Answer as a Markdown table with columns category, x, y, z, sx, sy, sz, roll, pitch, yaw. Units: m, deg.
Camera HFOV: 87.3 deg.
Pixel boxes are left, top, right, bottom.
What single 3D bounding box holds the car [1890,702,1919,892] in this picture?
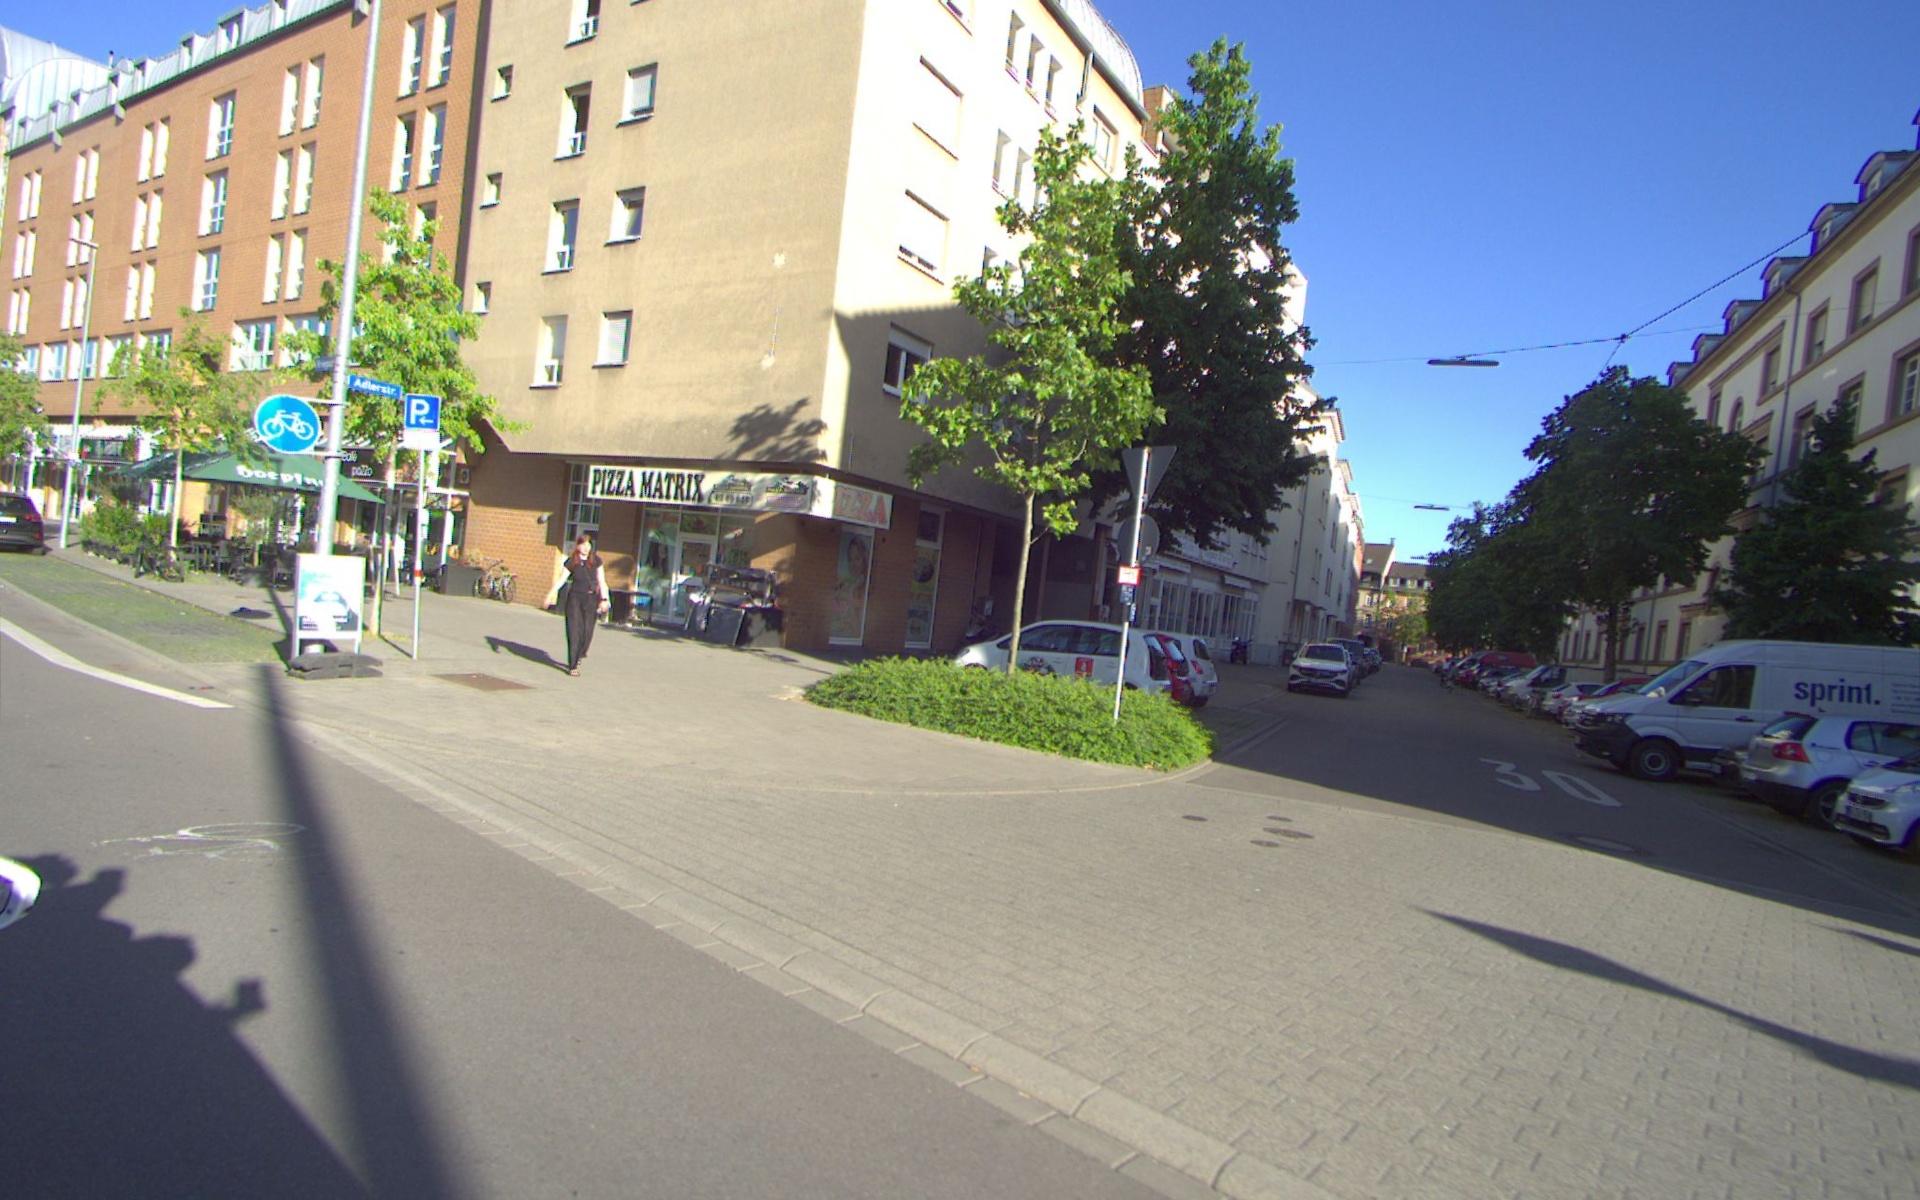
| category | x | y | z | sx | sy | sz | roll | pitch | yaw |
| --- | --- | --- | --- | --- | --- | --- | --- | --- | --- |
| car | 10.555 | 1.907 | 7.903 | 4.361 | 1.705 | 1.698 | 5 | -3 | 25 |

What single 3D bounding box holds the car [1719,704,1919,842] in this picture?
| category | x | y | z | sx | sy | sz | roll | pitch | yaw |
| --- | --- | --- | --- | --- | --- | --- | --- | --- | --- |
| car | 12.583 | 2.345 | 12.717 | 4.358 | 1.445 | 1.699 | 6 | -2 | 22 |

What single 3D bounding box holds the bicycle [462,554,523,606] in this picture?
| category | x | y | z | sx | sy | sz | roll | pitch | yaw |
| --- | --- | --- | --- | --- | --- | --- | --- | --- | --- |
| bicycle | -12.361 | -0.536 | 26.574 | 1.511 | 1.185 | 0.614 | 7 | 2 | 30 |

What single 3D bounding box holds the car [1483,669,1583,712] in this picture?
| category | x | y | z | sx | sy | sz | roll | pitch | yaw |
| --- | --- | --- | --- | --- | --- | --- | --- | --- | --- |
| car | 27.732 | 4.368 | 48.800 | 3.928 | 1.452 | 1.696 | 8 | -1 | 25 |

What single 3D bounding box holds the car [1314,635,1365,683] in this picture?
| category | x | y | z | sx | sy | sz | roll | pitch | yaw |
| --- | --- | --- | --- | --- | --- | --- | --- | --- | --- |
| car | 17.443 | 2.740 | 46.180 | 1.897 | 1.820 | 4.183 | 8 | -2 | 22 |

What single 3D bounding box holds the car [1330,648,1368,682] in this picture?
| category | x | y | z | sx | sy | sz | roll | pitch | yaw |
| --- | --- | --- | --- | --- | --- | --- | --- | --- | --- |
| car | 21.548 | 3.625 | 55.719 | 1.752 | 1.525 | 4.002 | 8 | -2 | 22 |

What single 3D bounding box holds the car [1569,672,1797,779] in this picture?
| category | x | y | z | sx | sy | sz | roll | pitch | yaw |
| --- | --- | --- | --- | --- | --- | --- | --- | --- | --- |
| car | 16.692 | 2.871 | 23.473 | 3.929 | 1.759 | 1.543 | 8 | -1 | 26 |

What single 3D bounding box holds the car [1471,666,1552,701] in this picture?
| category | x | y | z | sx | sy | sz | roll | pitch | yaw |
| --- | --- | --- | --- | --- | --- | --- | --- | --- | --- |
| car | 32.590 | 4.912 | 59.526 | 3.928 | 1.452 | 1.696 | 8 | -1 | 25 |

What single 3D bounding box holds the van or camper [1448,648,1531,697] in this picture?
| category | x | y | z | sx | sy | sz | roll | pitch | yaw |
| --- | --- | --- | --- | --- | --- | --- | --- | --- | --- |
| van or camper | 38.137 | 5.213 | 72.583 | 4.796 | 2.751 | 1.821 | 8 | -1 | 20 |

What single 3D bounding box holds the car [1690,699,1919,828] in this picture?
| category | x | y | z | sx | sy | sz | roll | pitch | yaw |
| --- | --- | --- | --- | --- | --- | --- | --- | --- | --- |
| car | 13.752 | 2.509 | 14.909 | 4.359 | 1.496 | 1.698 | 6 | -2 | 23 |

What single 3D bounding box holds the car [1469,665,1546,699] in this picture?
| category | x | y | z | sx | sy | sz | roll | pitch | yaw |
| --- | --- | --- | --- | --- | --- | --- | --- | --- | --- |
| car | 33.623 | 5.054 | 61.871 | 3.928 | 1.452 | 1.696 | 8 | -1 | 25 |

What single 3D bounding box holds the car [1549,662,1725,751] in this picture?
| category | x | y | z | sx | sy | sz | roll | pitch | yaw |
| --- | --- | --- | --- | --- | --- | --- | --- | --- | --- |
| car | 20.080 | 3.139 | 30.047 | 3.927 | 1.959 | 1.696 | 8 | -1 | 24 |

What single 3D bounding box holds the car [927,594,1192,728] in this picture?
| category | x | y | z | sx | sy | sz | roll | pitch | yaw |
| --- | --- | --- | --- | --- | --- | --- | --- | --- | --- |
| car | 1.610 | 0.955 | 16.104 | 3.766 | 1.491 | 1.669 | 8 | -1 | 21 |

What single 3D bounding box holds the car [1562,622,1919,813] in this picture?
| category | x | y | z | sx | sy | sz | roll | pitch | yaw |
| --- | --- | --- | --- | --- | --- | --- | --- | --- | --- |
| car | 13.996 | 1.953 | 17.281 | 5.854 | 2.641 | 1.928 | 4 | 0 | 22 |

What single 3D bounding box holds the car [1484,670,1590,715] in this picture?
| category | x | y | z | sx | sy | sz | roll | pitch | yaw |
| --- | --- | --- | --- | --- | --- | --- | --- | --- | --- |
| car | 26.445 | 4.230 | 46.227 | 3.928 | 1.452 | 1.696 | 8 | -1 | 25 |

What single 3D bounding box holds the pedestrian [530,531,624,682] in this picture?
| category | x | y | z | sx | sy | sz | roll | pitch | yaw |
| --- | --- | --- | --- | --- | --- | --- | --- | --- | --- |
| pedestrian | -4.857 | 0.072 | 12.724 | 0.876 | 1.786 | 1.097 | 4 | 2 | -28 |

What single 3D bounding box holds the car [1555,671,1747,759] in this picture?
| category | x | y | z | sx | sy | sz | roll | pitch | yaw |
| --- | --- | --- | --- | --- | --- | --- | --- | --- | --- |
| car | 19.104 | 3.156 | 28.004 | 3.926 | 1.747 | 1.697 | 8 | -1 | 21 |

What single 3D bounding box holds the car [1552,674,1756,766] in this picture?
| category | x | y | z | sx | sy | sz | roll | pitch | yaw |
| --- | --- | --- | --- | --- | --- | --- | --- | --- | --- |
| car | 17.581 | 3.029 | 25.741 | 3.929 | 1.634 | 1.695 | 7 | -1 | 27 |

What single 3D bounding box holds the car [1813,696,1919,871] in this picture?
| category | x | y | z | sx | sy | sz | roll | pitch | yaw |
| --- | --- | --- | --- | --- | --- | --- | --- | --- | --- |
| car | 11.838 | 2.118 | 10.266 | 4.358 | 1.707 | 1.629 | 6 | -1 | 21 |

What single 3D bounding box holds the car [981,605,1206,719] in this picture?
| category | x | y | z | sx | sy | sz | roll | pitch | yaw |
| --- | --- | --- | --- | --- | --- | --- | --- | --- | --- |
| car | 2.419 | 1.105 | 18.233 | 3.589 | 1.469 | 1.638 | 8 | -1 | 23 |

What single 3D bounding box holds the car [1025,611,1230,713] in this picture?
| category | x | y | z | sx | sy | sz | roll | pitch | yaw |
| --- | --- | --- | --- | --- | --- | --- | --- | --- | --- |
| car | 3.395 | 1.248 | 20.433 | 3.668 | 1.472 | 1.637 | 8 | -1 | 26 |

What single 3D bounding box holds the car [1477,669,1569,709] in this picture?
| category | x | y | z | sx | sy | sz | roll | pitch | yaw |
| --- | --- | --- | --- | --- | --- | --- | --- | --- | --- |
| car | 29.395 | 4.646 | 52.643 | 3.928 | 1.452 | 1.696 | 8 | -1 | 25 |

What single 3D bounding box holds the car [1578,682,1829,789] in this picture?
| category | x | y | z | sx | sy | sz | roll | pitch | yaw |
| --- | --- | --- | --- | --- | --- | --- | --- | --- | --- |
| car | 15.523 | 2.799 | 21.293 | 3.932 | 1.508 | 1.694 | 7 | -2 | 30 |

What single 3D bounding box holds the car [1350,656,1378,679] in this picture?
| category | x | y | z | sx | sy | sz | roll | pitch | yaw |
| --- | --- | --- | --- | --- | --- | --- | --- | --- | --- |
| car | 30.015 | 5.004 | 74.797 | 1.752 | 1.402 | 3.999 | 7 | 0 | 22 |

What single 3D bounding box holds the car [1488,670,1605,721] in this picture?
| category | x | y | z | sx | sy | sz | roll | pitch | yaw |
| --- | --- | --- | --- | --- | --- | --- | --- | --- | --- |
| car | 24.437 | 3.971 | 42.046 | 3.928 | 1.452 | 1.696 | 8 | -1 | 25 |

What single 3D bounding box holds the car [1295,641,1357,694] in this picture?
| category | x | y | z | sx | sy | sz | roll | pitch | yaw |
| --- | --- | --- | --- | --- | --- | --- | --- | --- | --- |
| car | 13.776 | 2.571 | 37.735 | 1.792 | 1.658 | 4.002 | 8 | -2 | 23 |

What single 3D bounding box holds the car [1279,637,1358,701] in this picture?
| category | x | y | z | sx | sy | sz | roll | pitch | yaw |
| --- | --- | --- | --- | --- | --- | --- | --- | --- | --- |
| car | 11.965 | 2.238 | 33.370 | 1.964 | 1.719 | 4.394 | 8 | 1 | 24 |

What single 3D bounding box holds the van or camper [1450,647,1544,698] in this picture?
| category | x | y | z | sx | sy | sz | roll | pitch | yaw |
| --- | --- | --- | --- | --- | --- | --- | --- | --- | --- |
| van or camper | 34.309 | 4.627 | 64.385 | 4.796 | 2.557 | 1.821 | 8 | -1 | 20 |

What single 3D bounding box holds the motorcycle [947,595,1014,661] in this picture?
| category | x | y | z | sx | sy | sz | roll | pitch | yaw |
| --- | --- | --- | --- | --- | --- | --- | --- | --- | --- |
| motorcycle | 0.573 | 0.780 | 27.221 | 0.641 | 1.627 | 2.262 | 8 | 0 | 29 |

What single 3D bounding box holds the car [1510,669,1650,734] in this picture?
| category | x | y | z | sx | sy | sz | roll | pitch | yaw |
| --- | --- | --- | --- | --- | --- | --- | --- | --- | --- |
| car | 22.378 | 3.656 | 36.469 | 3.927 | 1.699 | 1.742 | 8 | -1 | 24 |

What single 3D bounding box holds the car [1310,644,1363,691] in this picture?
| category | x | y | z | sx | sy | sz | roll | pitch | yaw |
| --- | --- | --- | --- | --- | --- | --- | --- | --- | --- |
| car | 15.780 | 2.867 | 42.055 | 1.760 | 1.607 | 4.002 | 8 | -2 | 23 |

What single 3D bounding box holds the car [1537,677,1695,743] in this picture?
| category | x | y | z | sx | sy | sz | roll | pitch | yaw |
| --- | --- | --- | --- | --- | --- | --- | --- | --- | --- |
| car | 21.056 | 3.525 | 32.494 | 3.929 | 1.452 | 1.696 | 8 | -1 | 26 |

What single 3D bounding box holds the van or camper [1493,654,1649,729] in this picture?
| category | x | y | z | sx | sy | sz | roll | pitch | yaw |
| --- | --- | --- | --- | --- | --- | --- | --- | --- | --- |
| van or camper | 23.588 | 3.512 | 39.083 | 4.800 | 2.122 | 1.820 | 8 | -1 | 26 |

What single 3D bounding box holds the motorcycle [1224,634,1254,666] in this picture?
| category | x | y | z | sx | sy | sz | roll | pitch | yaw |
| --- | --- | --- | --- | --- | --- | --- | --- | --- | --- |
| motorcycle | 12.655 | 2.277 | 45.585 | 0.641 | 1.338 | 2.262 | 8 | 0 | 29 |

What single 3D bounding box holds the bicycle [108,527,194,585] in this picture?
| category | x | y | z | sx | sy | sz | roll | pitch | yaw |
| --- | --- | --- | --- | --- | --- | --- | --- | --- | --- |
| bicycle | -17.217 | -0.935 | 21.412 | 1.964 | 1.097 | 0.765 | 6 | 5 | 30 |

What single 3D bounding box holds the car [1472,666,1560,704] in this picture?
| category | x | y | z | sx | sy | sz | roll | pitch | yaw |
| --- | --- | --- | --- | --- | --- | --- | --- | --- | --- |
| car | 30.317 | 4.640 | 54.949 | 3.928 | 1.452 | 1.696 | 8 | -1 | 25 |

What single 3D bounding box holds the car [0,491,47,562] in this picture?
| category | x | y | z | sx | sy | sz | roll | pitch | yaw |
| --- | --- | --- | --- | --- | --- | --- | --- | --- | --- |
| car | -25.557 | -2.059 | 26.390 | 4.169 | 1.657 | 1.719 | 7 | 1 | 39 |
